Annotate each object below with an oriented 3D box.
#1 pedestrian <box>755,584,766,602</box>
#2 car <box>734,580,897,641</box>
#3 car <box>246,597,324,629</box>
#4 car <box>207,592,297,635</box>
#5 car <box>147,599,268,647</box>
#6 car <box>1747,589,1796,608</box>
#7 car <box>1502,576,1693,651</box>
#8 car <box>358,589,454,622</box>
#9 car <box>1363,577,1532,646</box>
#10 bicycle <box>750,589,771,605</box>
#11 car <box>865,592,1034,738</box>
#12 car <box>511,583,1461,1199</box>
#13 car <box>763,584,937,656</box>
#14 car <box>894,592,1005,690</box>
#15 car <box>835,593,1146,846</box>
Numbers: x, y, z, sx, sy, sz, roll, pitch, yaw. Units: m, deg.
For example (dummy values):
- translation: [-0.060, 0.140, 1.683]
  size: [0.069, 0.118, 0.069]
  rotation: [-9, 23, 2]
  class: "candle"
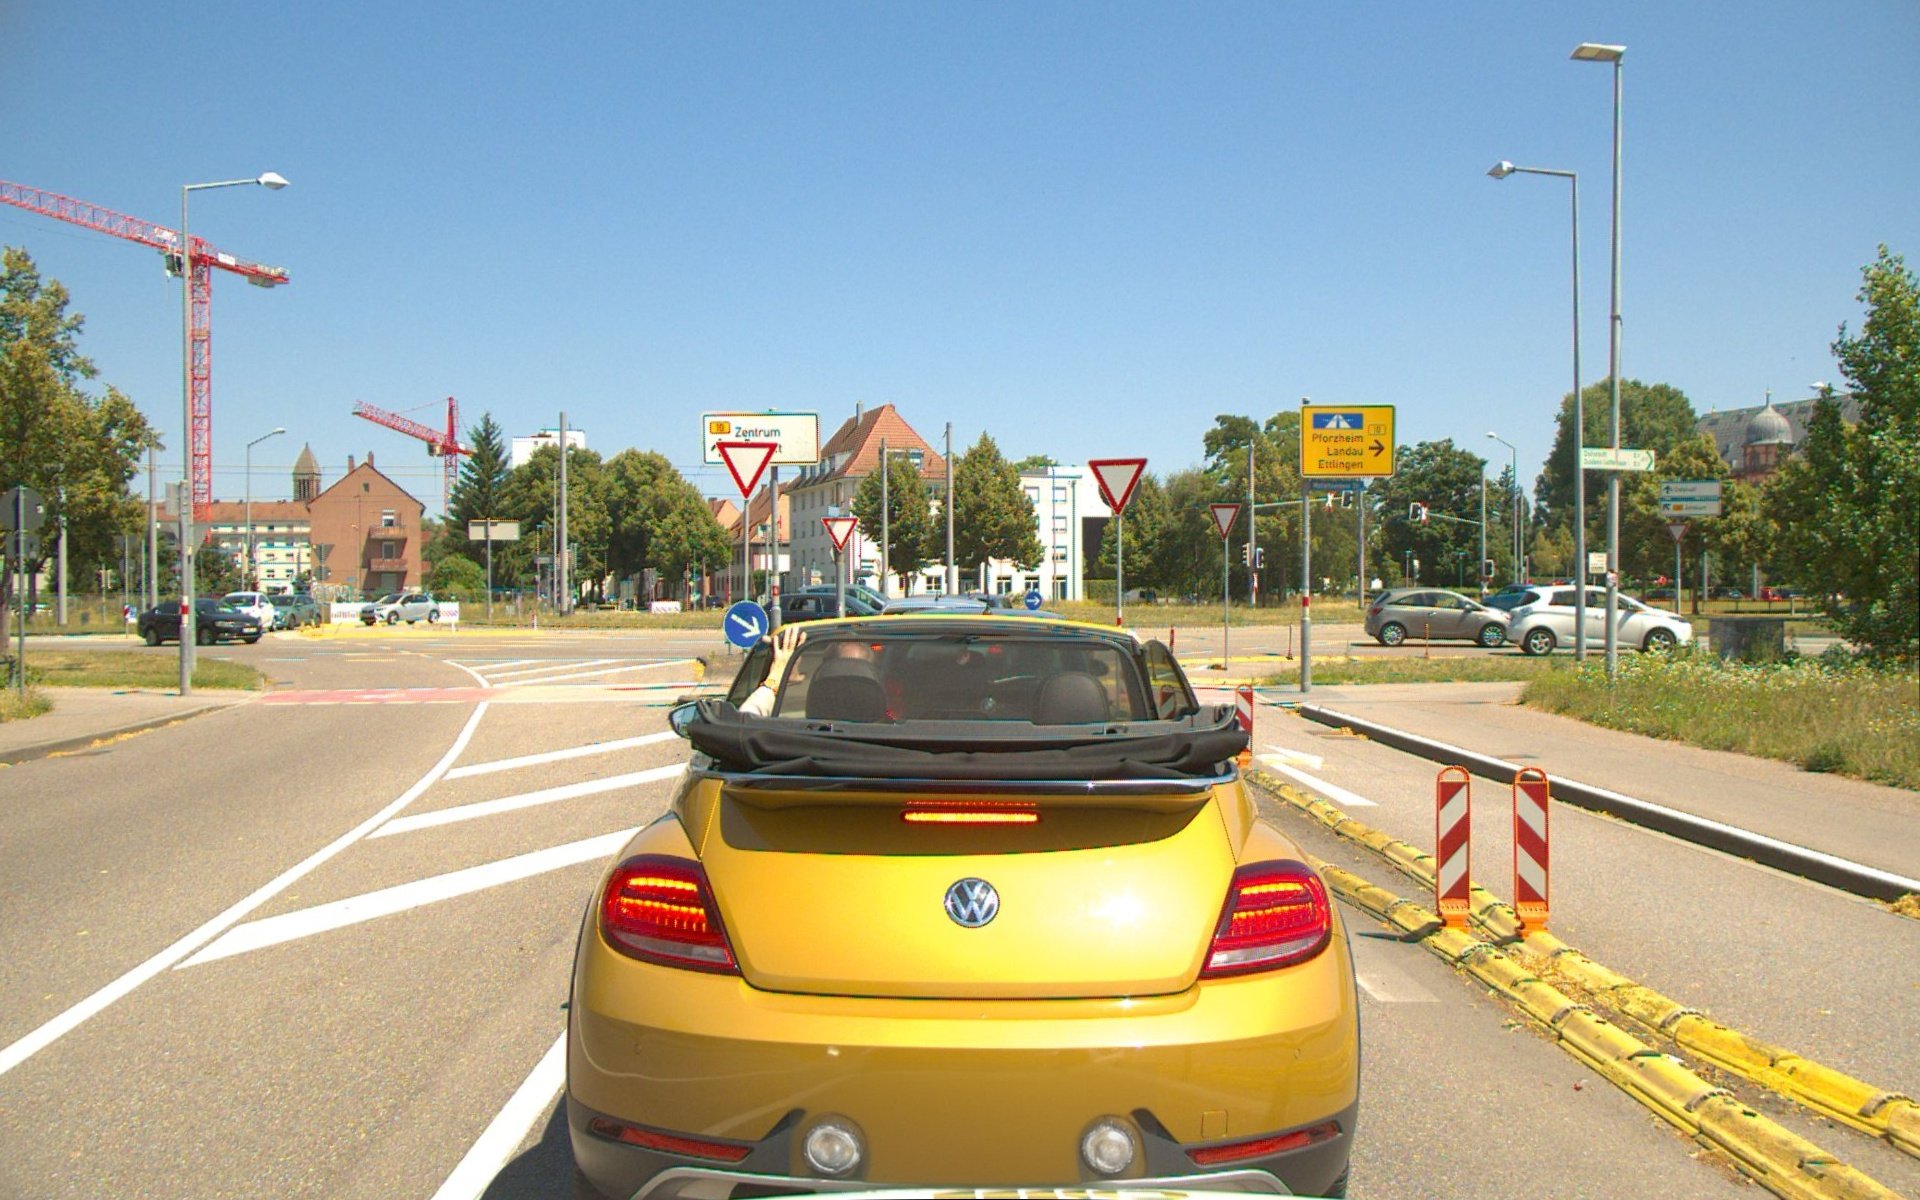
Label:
- translation: [-13.930, -0.502, 115.671]
  size: [0.666, 1.252, 0.496]
  rotation: [0, 0, -19]
  class: "pedestrian"
- translation: [-3.721, 0.268, 42.923]
  size: [3.902, 1.522, 1.802]
  rotation: [0, 0, 9]
  class: "car"
- translation: [-27.790, 0.520, 68.208]
  size: [1.672, 1.258, 3.786]
  rotation: [0, 0, -1]
  class: "car"
- translation: [-26.951, 0.509, 63.070]
  size: [1.720, 1.576, 3.999]
  rotation: [0, 0, -1]
  class: "car"
- translation: [-24.113, 0.712, 52.933]
  size: [4.449, 1.472, 1.813]
  rotation: [0, 0, 40]
  class: "car"
- translation: [76.411, -0.141, 155.805]
  size: [3.926, 1.744, 1.989]
  rotation: [0, 0, -19]
  class: "car"
- translation: [14.447, 0.291, 37.684]
  size: [3.914, 1.648, 1.681]
  rotation: [0, 0, 15]
  class: "car"
- translation: [-25.995, 0.262, 77.696]
  size: [1.676, 1.526, 4.210]
  rotation: [0, 0, 32]
  class: "car"
- translation: [12.446, 0.297, 42.438]
  size: [3.902, 1.522, 1.649]
  rotation: [-3, -1, 9]
  class: "car"
- translation: [-13.951, -0.188, 115.663]
  size: [1.444, 1.090, 0.496]
  rotation: [0, 0, -20]
  class: "bicycle"
- translation: [-0.128, 0.657, 18.675]
  size: [1.701, 1.467, 3.999]
  rotation: [0, 0, -1]
  class: "car"
- translation: [0.020, 0.696, 4.884]
  size: [1.717, 1.447, 3.776]
  rotation: [0, 0, -1]
  class: "car"
- translation: [-2.607, 0.462, 39.732]
  size: [3.914, 1.648, 1.738]
  rotation: [0, 0, 6]
  class: "car"
- translation: [-0.186, 0.632, 27.476]
  size: [1.701, 1.503, 3.999]
  rotation: [0, 0, -1]
  class: "car"
- translation: [0.157, 0.698, 11.666]
  size: [1.810, 1.467, 3.999]
  rotation: [0, 0, -1]
  class: "car"
